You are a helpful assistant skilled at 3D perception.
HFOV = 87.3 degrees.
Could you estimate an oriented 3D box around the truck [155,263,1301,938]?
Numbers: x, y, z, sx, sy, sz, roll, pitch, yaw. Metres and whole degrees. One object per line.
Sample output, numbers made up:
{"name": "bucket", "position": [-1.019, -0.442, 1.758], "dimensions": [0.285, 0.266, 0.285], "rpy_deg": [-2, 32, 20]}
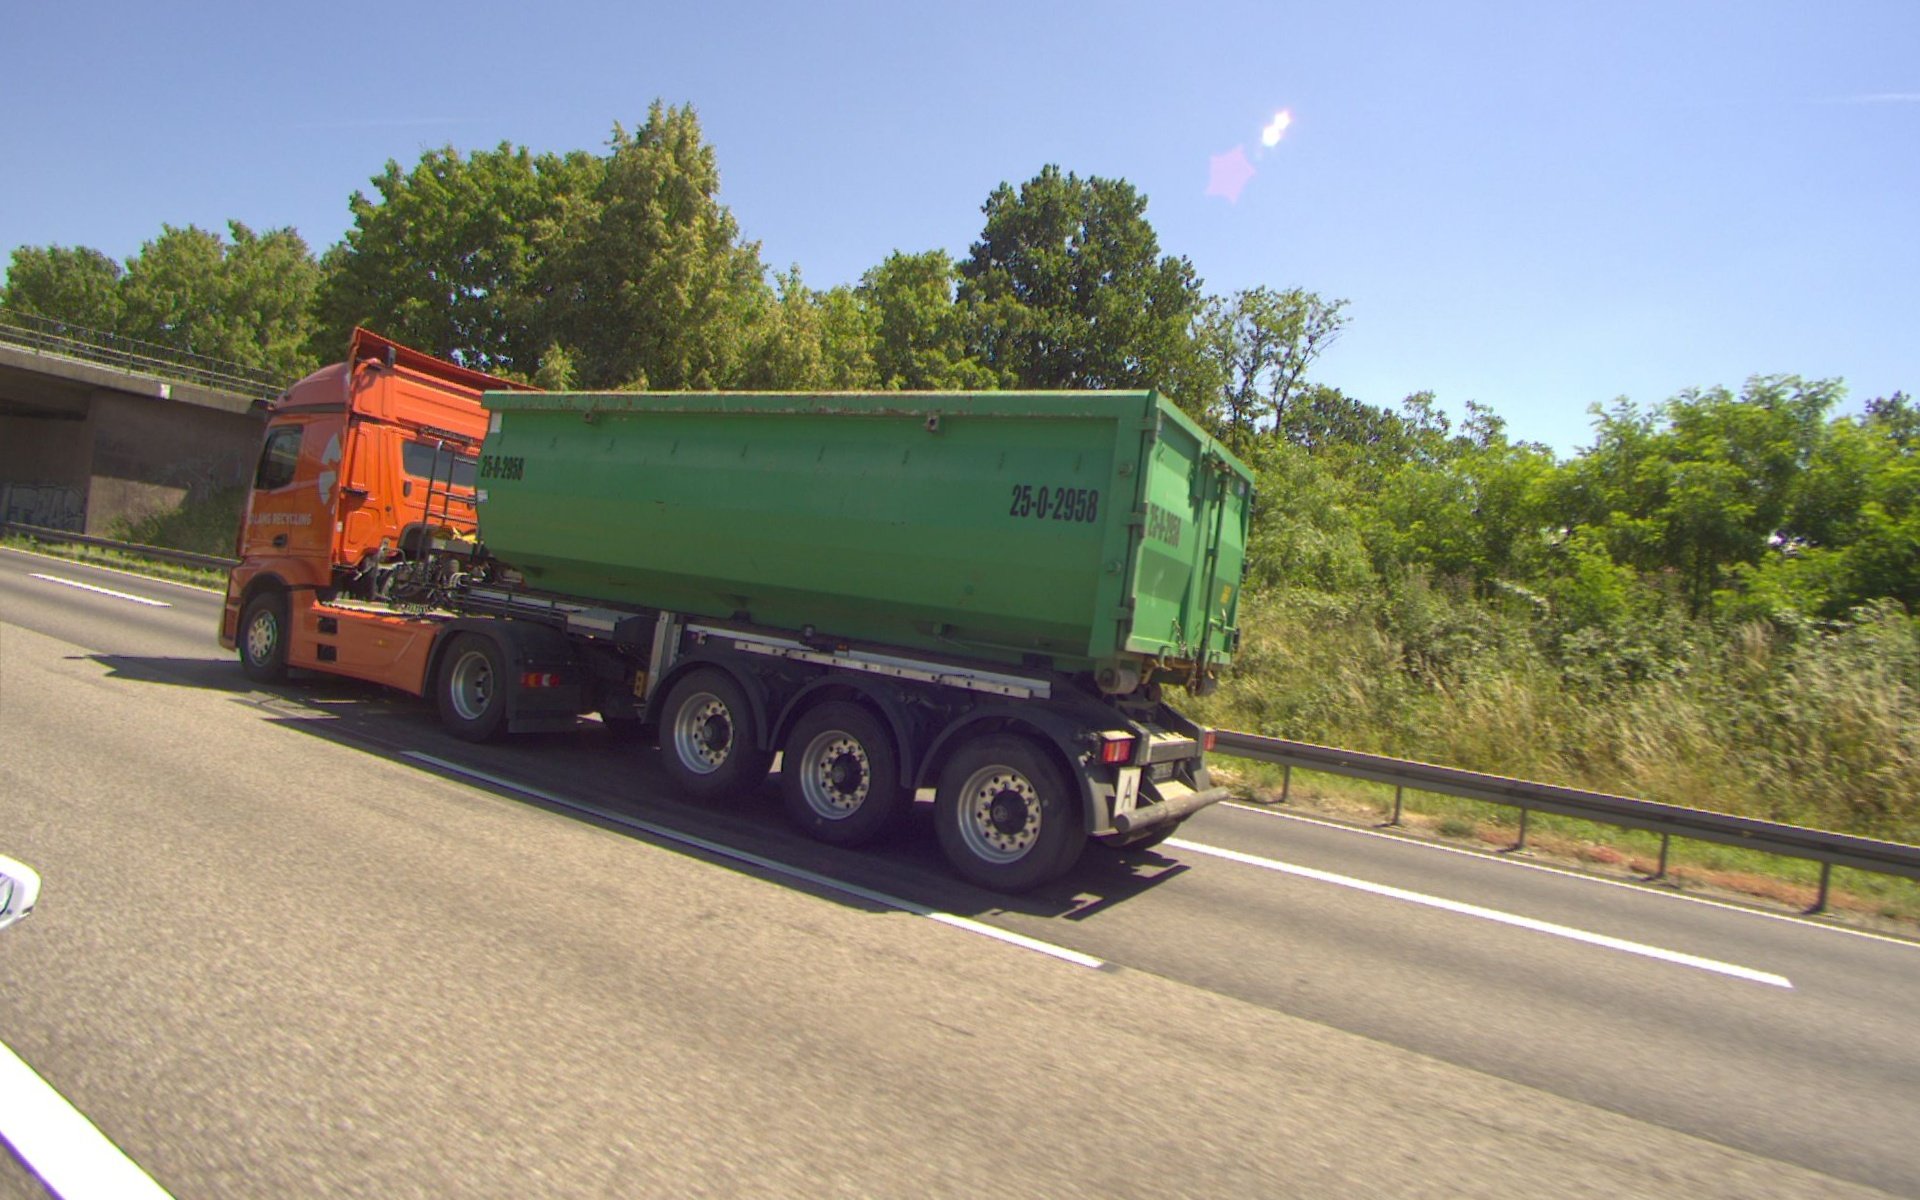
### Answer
{"name": "truck", "position": [-3.421, -0.465, 9.990], "dimensions": [12.269, 3.841, 2.687], "rpy_deg": [7, -2, 31]}
